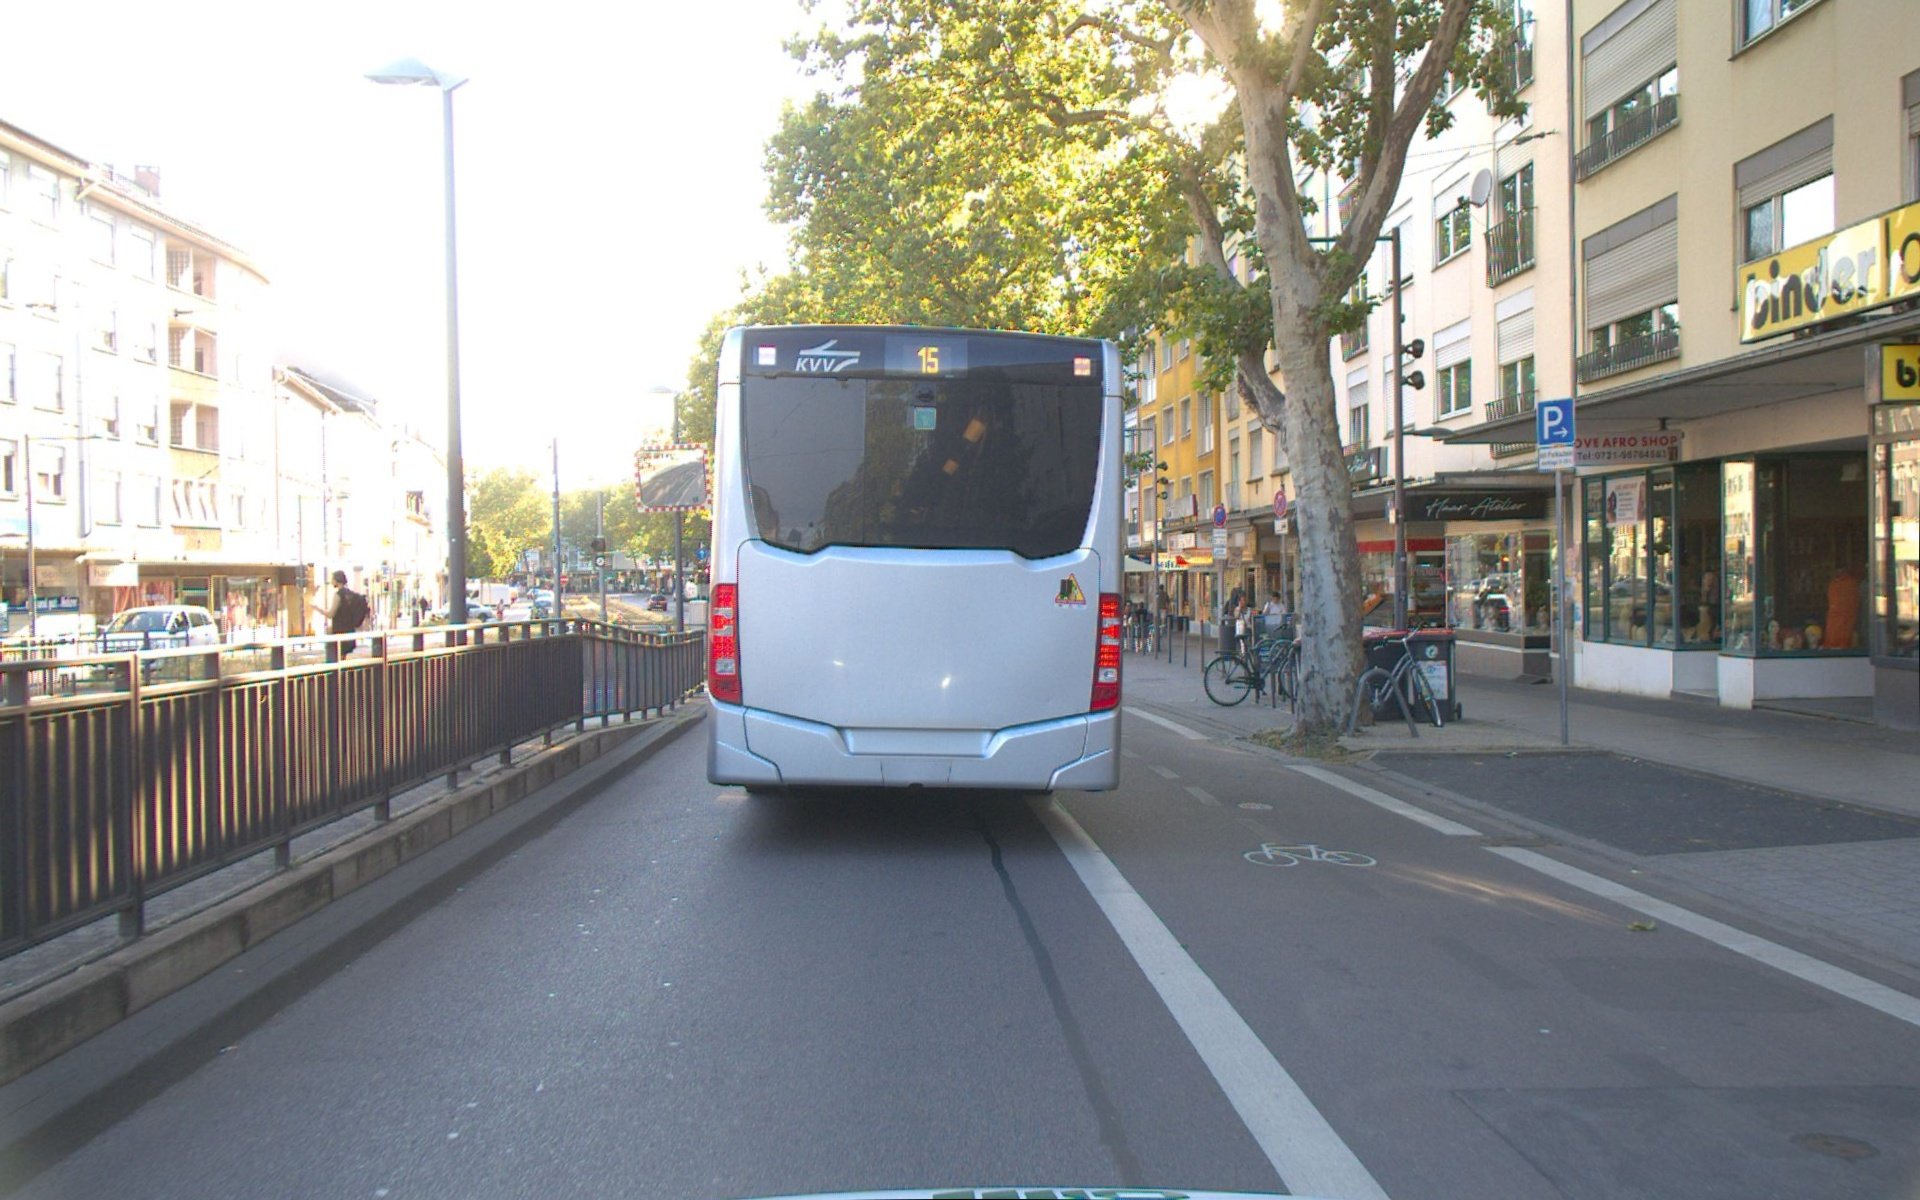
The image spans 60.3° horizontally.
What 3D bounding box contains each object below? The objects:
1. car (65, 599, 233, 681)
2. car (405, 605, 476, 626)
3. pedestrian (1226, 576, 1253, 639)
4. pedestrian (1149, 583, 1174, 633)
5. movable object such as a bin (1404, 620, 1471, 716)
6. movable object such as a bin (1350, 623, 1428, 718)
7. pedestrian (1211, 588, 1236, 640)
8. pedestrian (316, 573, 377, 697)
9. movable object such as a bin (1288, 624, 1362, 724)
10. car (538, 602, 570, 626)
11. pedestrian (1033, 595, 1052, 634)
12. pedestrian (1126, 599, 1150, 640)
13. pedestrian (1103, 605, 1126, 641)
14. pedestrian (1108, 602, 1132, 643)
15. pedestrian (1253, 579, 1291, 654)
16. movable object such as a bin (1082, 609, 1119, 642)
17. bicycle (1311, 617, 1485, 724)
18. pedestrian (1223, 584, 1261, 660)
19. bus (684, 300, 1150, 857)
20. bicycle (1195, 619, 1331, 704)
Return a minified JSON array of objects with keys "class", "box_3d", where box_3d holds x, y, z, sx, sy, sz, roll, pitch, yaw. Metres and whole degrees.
[{"class":"car","box_3d":[-19.137,0.894,39.263,1.954,1.747,4.433,-1,0,-3]},{"class":"car","box_3d":[-37.641,1.087,119.830,1.967,1.437,4.520,-1,0,44]},{"class":"pedestrian","box_3d":[8.284,0.227,49.041,0.623,1.835,0.626,-1,0,27]},{"class":"pedestrian","box_3d":[7.577,0.281,62.213,0.693,1.822,0.787,-4,0,-3]},{"class":"movable object such as a bin","box_3d":[5.711,0.809,19.775,0.707,1.090,0.644,-3,0,17]},{"class":"movable object such as a bin","box_3d":[5.230,0.850,20.191,0.708,1.090,0.643,-3,0,-4]},{"class":"pedestrian","box_3d":[8.121,0.426,50.890,0.612,1.573,0.637,-1,0,22]},{"class":"pedestrian","box_3d":[-9.513,0.537,25.662,0.727,1.881,0.589,-1,0,-7]},{"class":"movable object such as a bin","box_3d":[4.412,0.885,20.028,0.707,1.121,0.644,-5,0,5]},{"class":"car","box_3d":[-28.248,0.976,115.198,1.690,1.535,3.470,-3,0,-8]},{"class":"pedestrian","box_3d":[3.892,0.692,78.282,0.766,1.825,0.762,-1,0,-9]},{"class":"pedestrian","box_3d":[5.692,0.619,52.906,0.572,1.297,0.757,1,0,-8]},{"class":"pedestrian","box_3d":[5.009,0.734,53.529,0.572,1.135,0.749,1,0,-8]},{"class":"pedestrian","box_3d":[4.952,0.684,51.160,0.594,1.246,0.743,0,0,-8]},{"class":"pedestrian","box_3d":[6.882,0.366,36.493,0.610,1.614,0.626,-3,0,-3]},{"class":"movable object such as a bin","box_3d":[4.621,0.843,54.448,0.917,1.041,0.831,1,0,-32]},{"class":"bicycle","box_3d":[4.788,0.779,18.154,1.683,1.137,0.745,0,-3,-2]},{"class":"pedestrian","box_3d":[6.204,0.477,36.454,0.623,1.614,0.626,-3,0,-3]},{"class":"bus","box_3d":[-0.445,-0.132,12.951,2.625,3.137,7.109,0,0,-4]},{"class":"bicycle","box_3d":[4.447,0.901,24.328,1.867,1.124,0.518,-3,0,4]}]
